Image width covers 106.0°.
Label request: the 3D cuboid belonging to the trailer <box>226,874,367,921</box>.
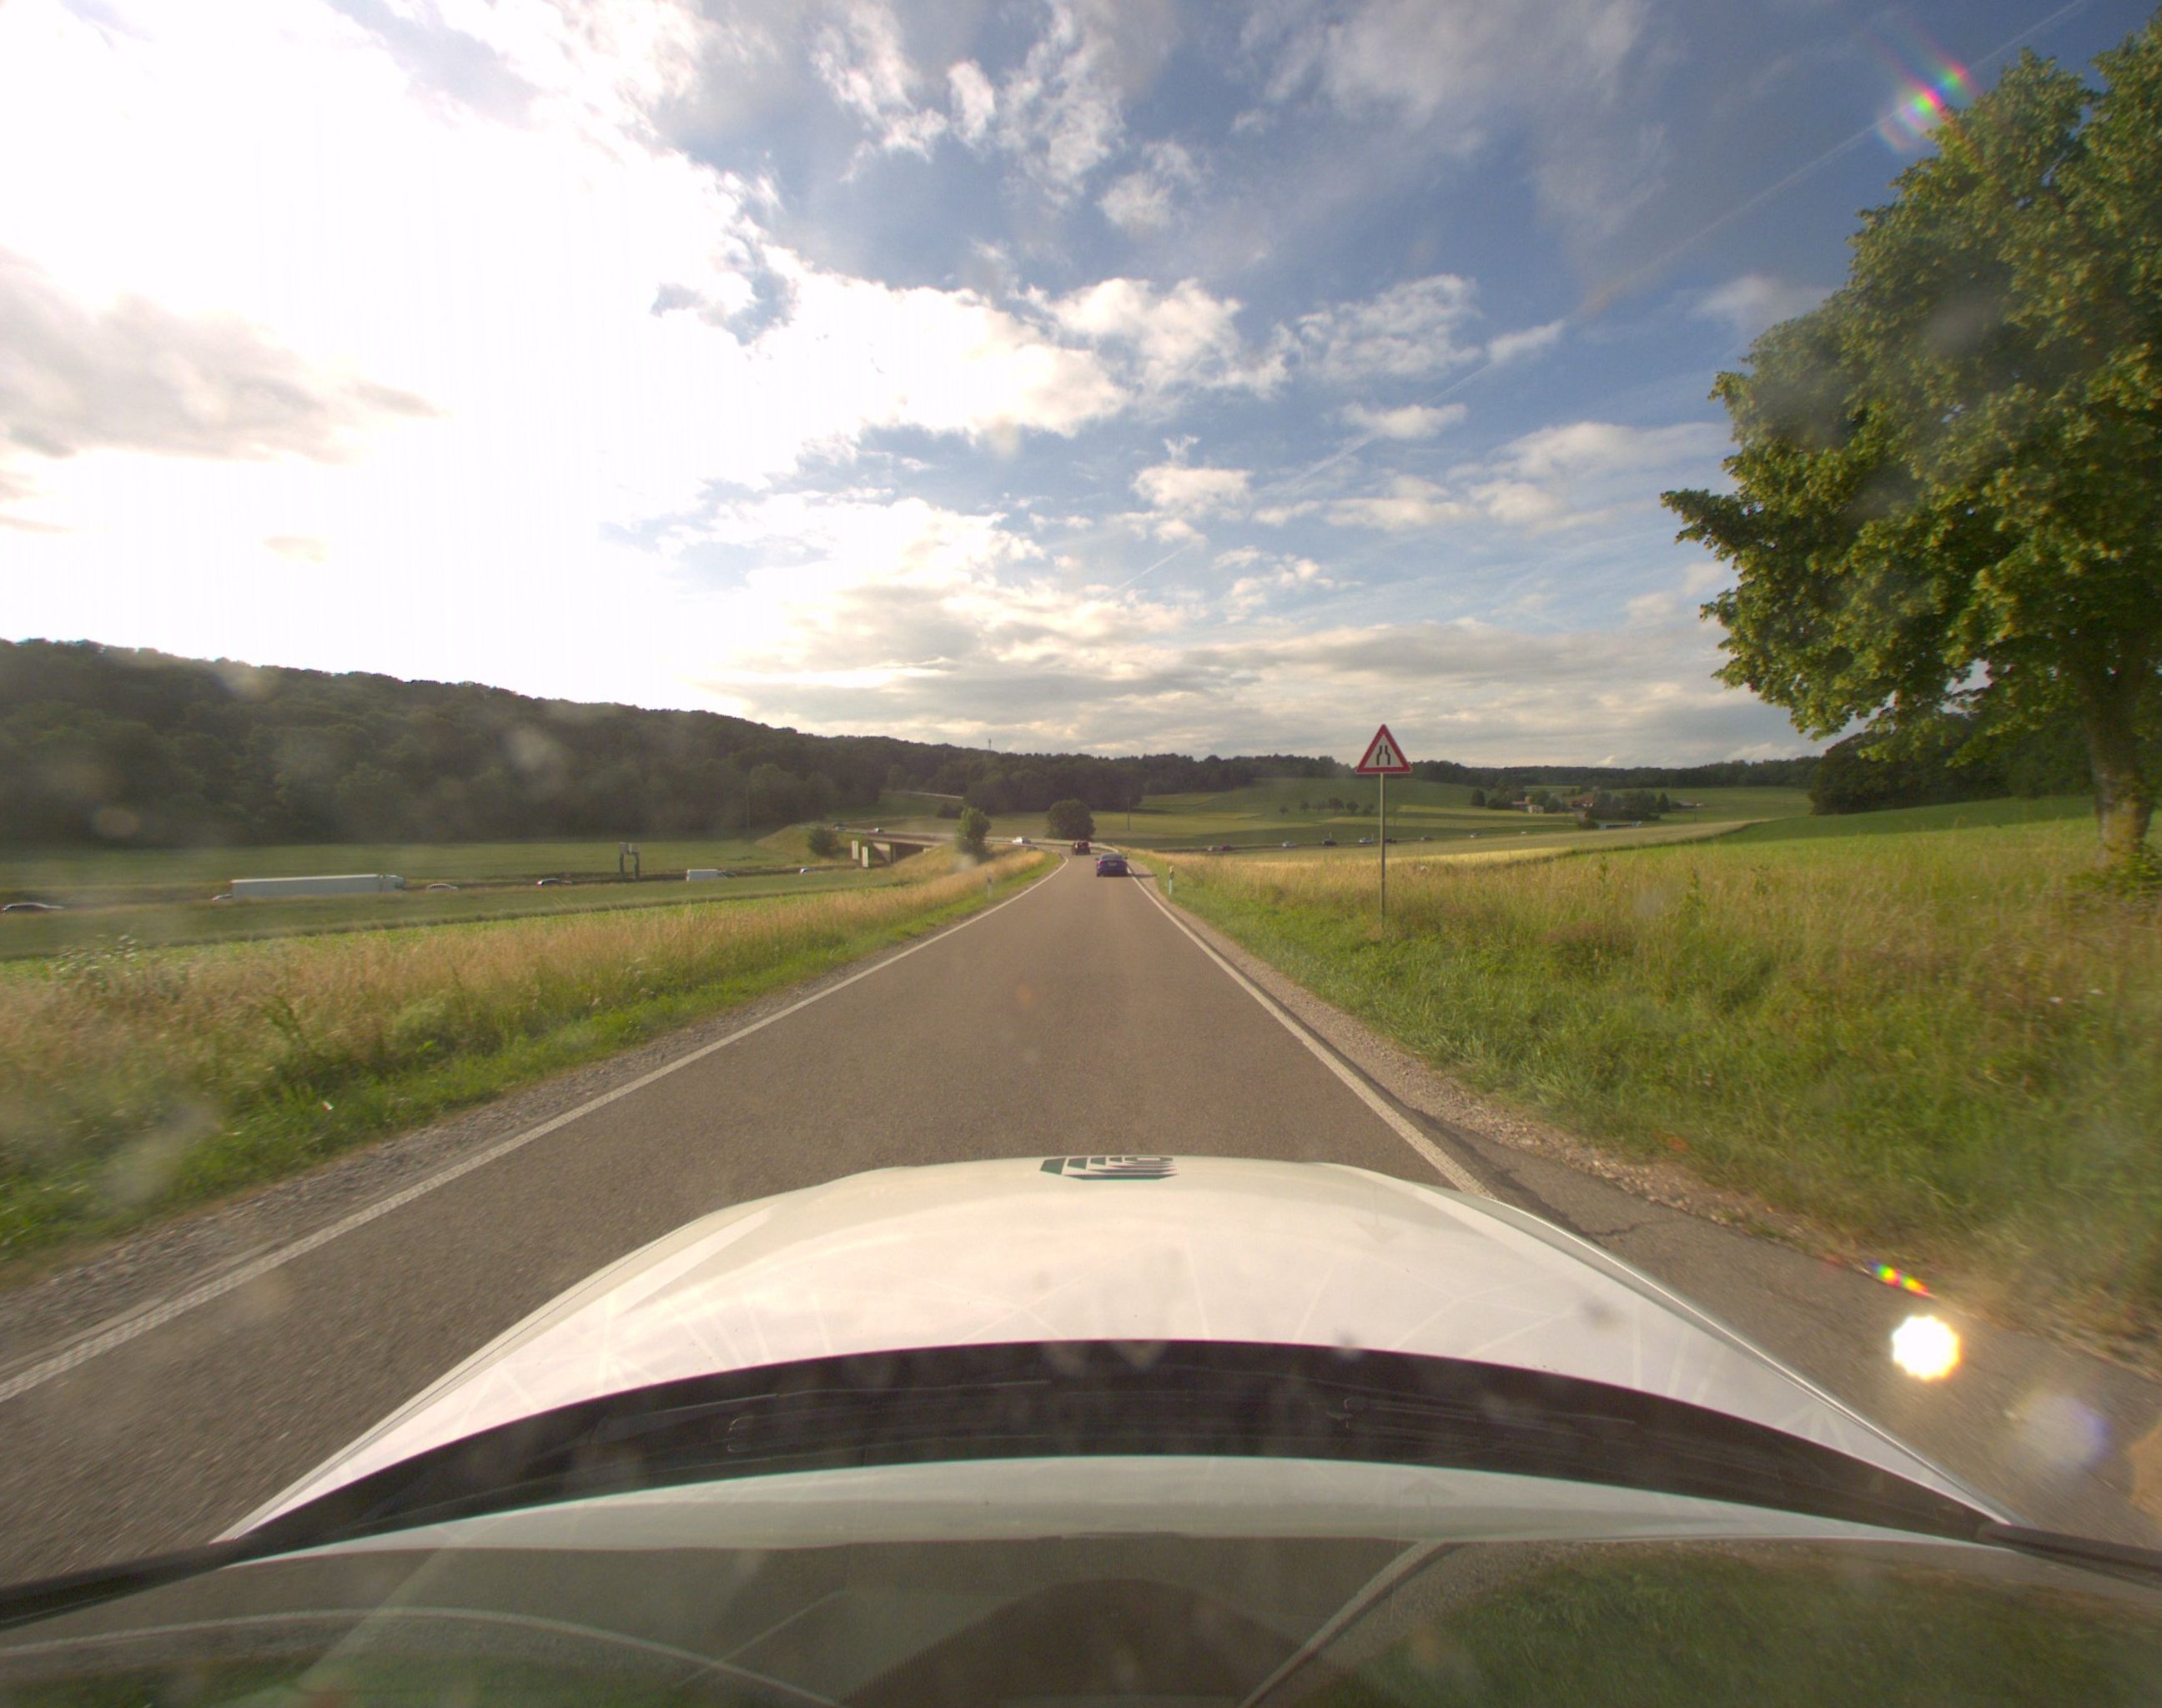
[{"bbox_3d":[-101.112,5.481,105.428,12.800,4.465,2.997,-5,8,-43],"label":"trailer"}]

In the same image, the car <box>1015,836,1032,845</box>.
[{"bbox_3d":[-9.247,-2.097,130.554,1.688,1.376,3.973,-2,2,-20],"label":"car"}]

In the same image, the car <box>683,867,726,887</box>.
[{"bbox_3d":[-63.658,3.911,137.654,6.154,2.582,2.348,-5,9,-38],"label":"car"}]

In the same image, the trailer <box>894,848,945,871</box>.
[{"bbox_3d":[-32.029,1.050,161.931,9.175,4.059,3.793,-3,2,-39],"label":"trailer"}]

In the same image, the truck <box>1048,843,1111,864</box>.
[{"bbox_3d":[-0.202,-0.201,182.961,14.493,3.996,4.034,-3,0,-37],"label":"truck"}]

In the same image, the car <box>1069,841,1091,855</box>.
[{"bbox_3d":[-0.095,-0.773,96.765,1.862,1.568,3.986,-3,1,-10],"label":"car"}]

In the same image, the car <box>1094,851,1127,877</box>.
[{"bbox_3d":[1.741,0.556,48.533,1.812,1.339,4.352,-4,0,2],"label":"car"}]

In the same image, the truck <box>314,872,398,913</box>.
[{"bbox_3d":[-97.086,5.118,109.178,8.102,4.465,2.994,-5,8,-43],"label":"truck"}]

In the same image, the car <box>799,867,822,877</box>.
[{"bbox_3d":[-49.955,3.353,150.194,3.637,1.633,1.637,-3,0,-36],"label":"car"}]

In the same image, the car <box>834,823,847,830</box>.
[{"bbox_3d":[-60.744,-6.984,205.712,2.009,1.771,3.958,-5,5,-35],"label":"car"}]
